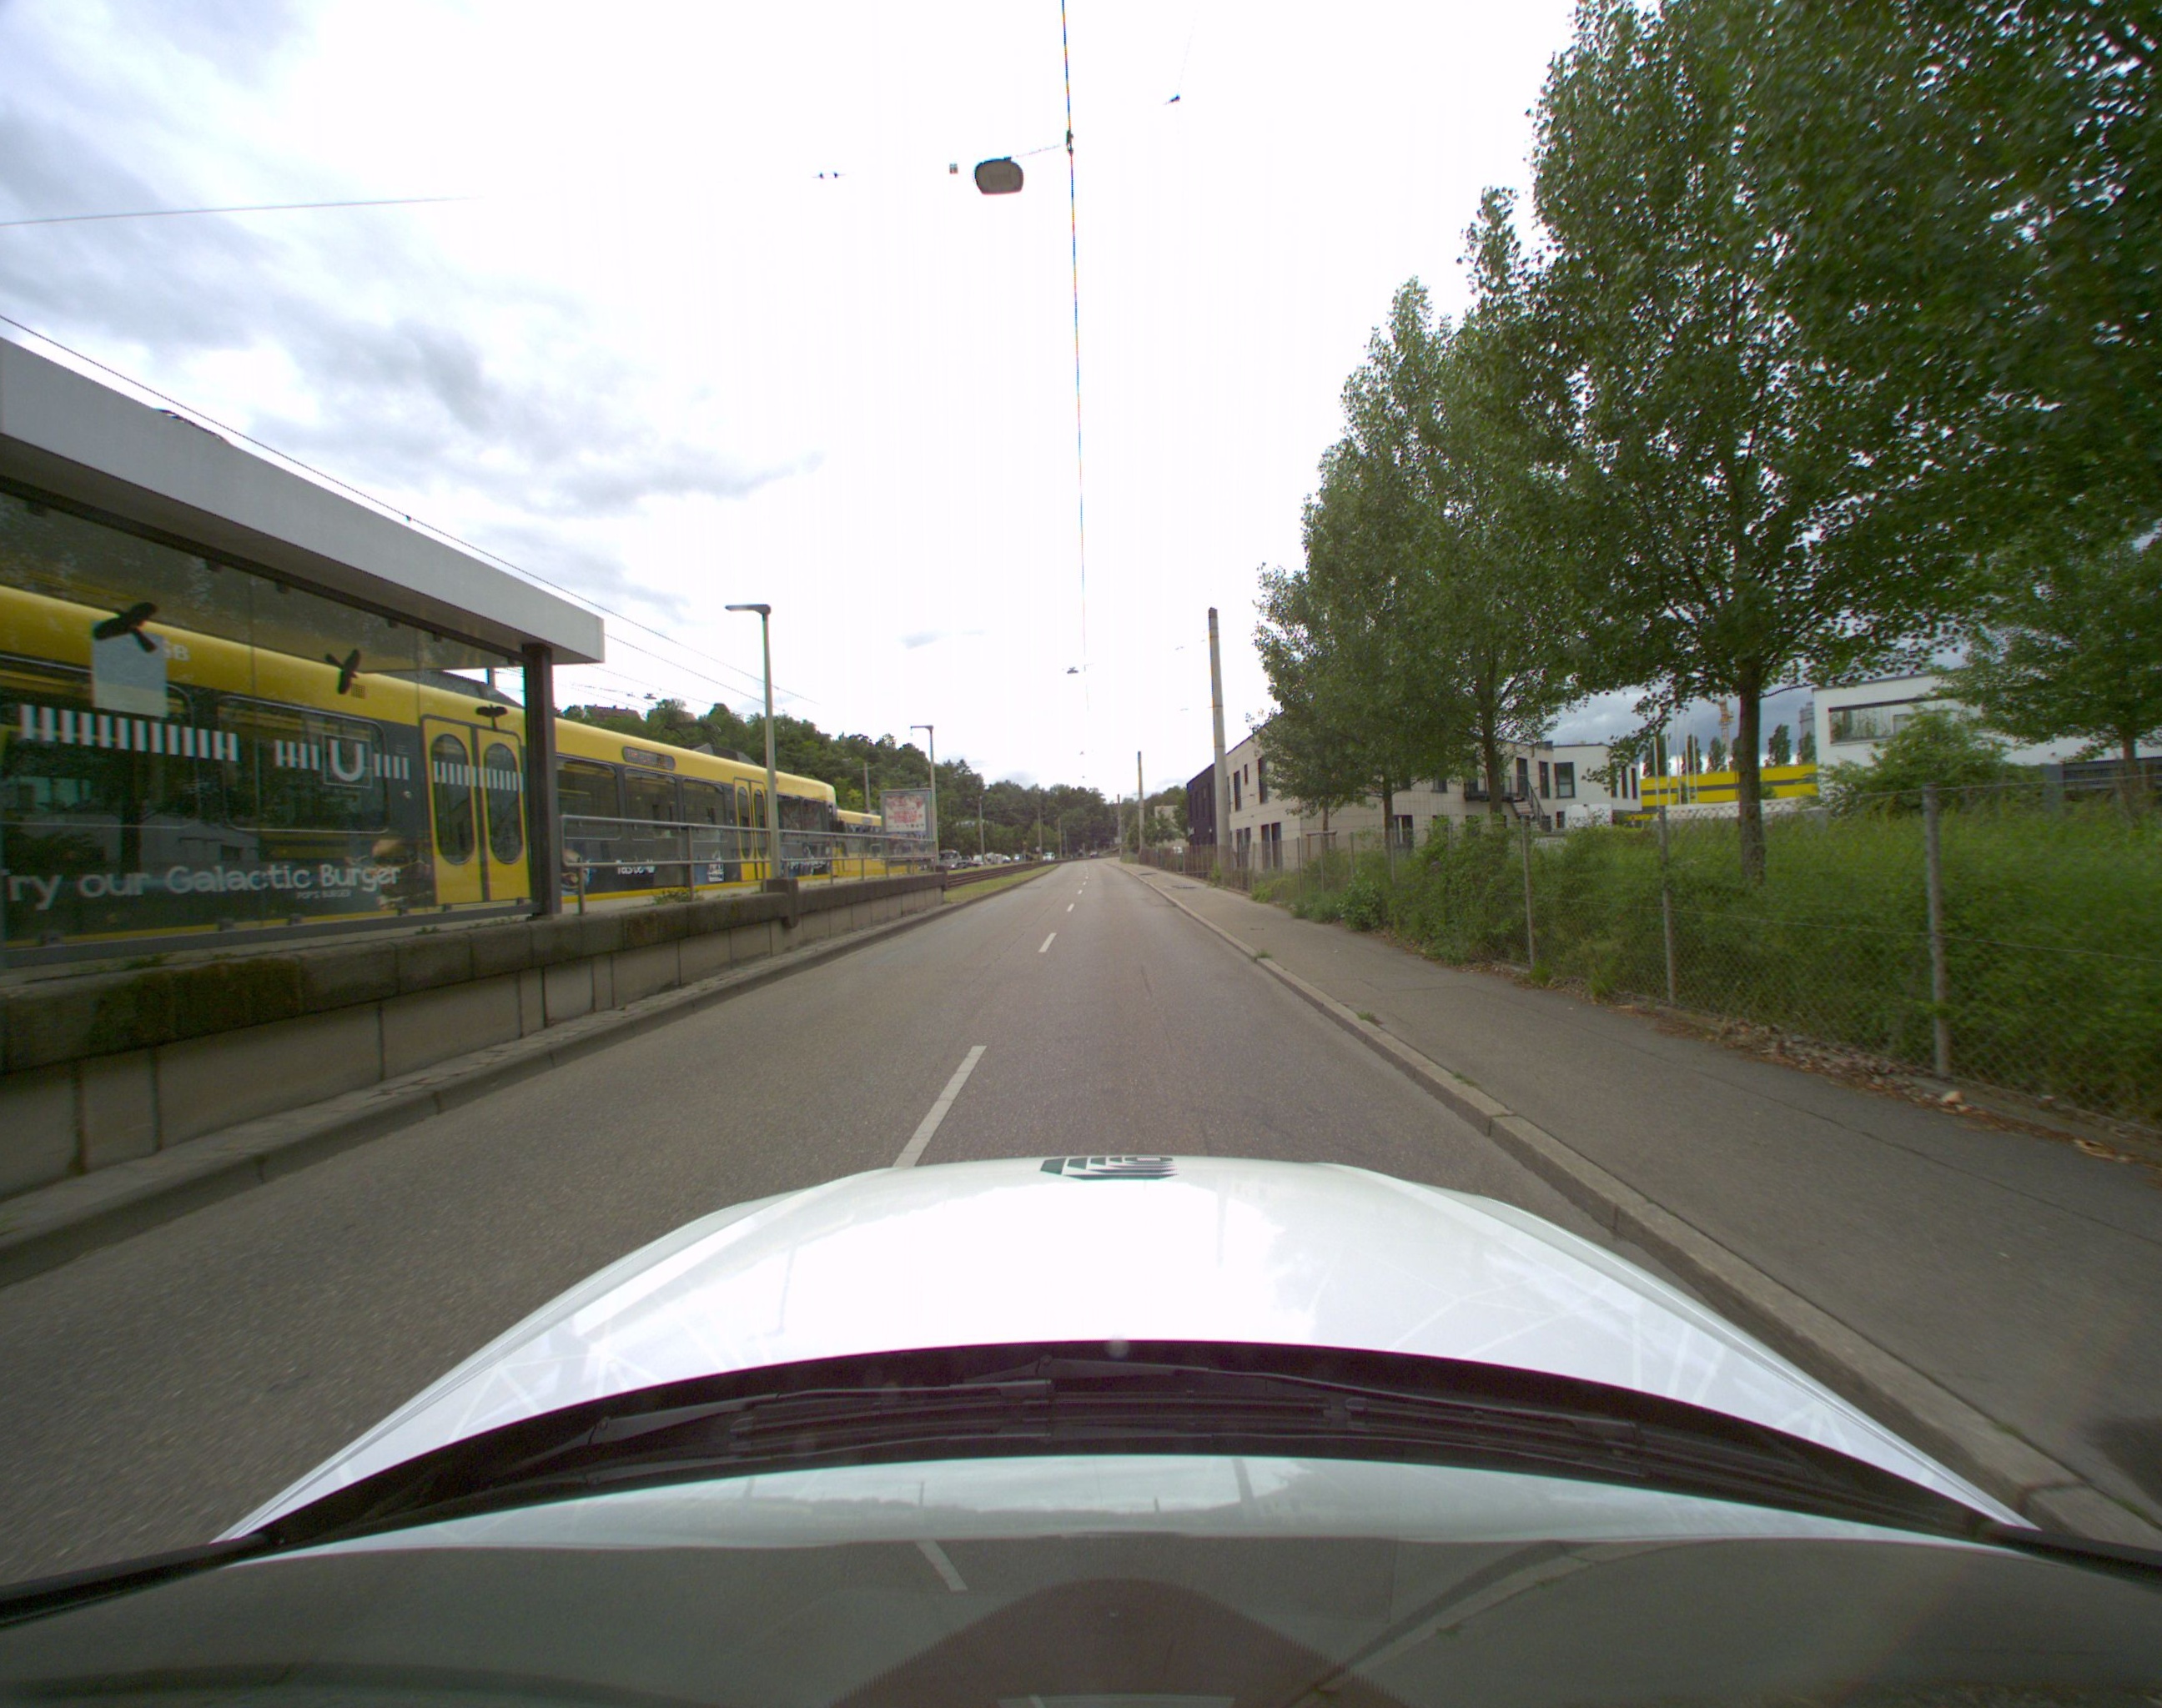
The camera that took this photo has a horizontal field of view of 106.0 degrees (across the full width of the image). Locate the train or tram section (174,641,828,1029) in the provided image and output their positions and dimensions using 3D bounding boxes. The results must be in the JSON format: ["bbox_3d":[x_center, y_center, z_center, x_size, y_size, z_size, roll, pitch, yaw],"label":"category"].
[{"bbox_3d":[-7.949,-0.313,14.529,2.731,3.966,11.916,-3,1,1],"label":"train or tram section"}]

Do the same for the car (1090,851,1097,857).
[{"bbox_3d":[3.626,-0.028,234.150,1.986,1.640,4.001,-2,0,1],"label":"car"}]

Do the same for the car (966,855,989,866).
[{"bbox_3d":[-19.885,1.257,156.242,3.966,1.706,1.837,-3,-3,7],"label":"car"}]

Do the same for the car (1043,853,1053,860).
[{"bbox_3d":[-7.702,0.618,191.308,1.986,1.640,4.001,-2,0,1],"label":"car"}]

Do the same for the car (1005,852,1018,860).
[{"bbox_3d":[-16.175,0.451,188.671,1.816,1.706,4.155,-3,-3,11],"label":"car"}]

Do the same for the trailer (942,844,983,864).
[{"bbox_3d":[-16.937,-0.084,117.222,2.875,2.583,10.019,-2,0,8],"label":"trailer"}]

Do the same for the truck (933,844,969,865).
[{"bbox_3d":[-17.765,0.021,111.565,2.867,2.589,6.928,-2,0,8],"label":"truck"}]

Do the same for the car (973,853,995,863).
[{"bbox_3d":[-19.475,0.849,163.812,3.966,1.706,1.837,-3,-3,7],"label":"car"}]

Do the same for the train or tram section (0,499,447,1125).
[{"bbox_3d":[-8.247,-0.175,2.584,2.731,3.966,11.916,-3,1,1],"label":"train or tram section"}]

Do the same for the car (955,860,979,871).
[{"bbox_3d":[-21.073,2.127,151.046,3.966,1.705,1.838,-3,1,7],"label":"car"}]

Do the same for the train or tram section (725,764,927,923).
[{"bbox_3d":[-7.656,-0.376,26.494,2.961,4.064,10.200,-3,1,1],"label":"train or tram section"}]

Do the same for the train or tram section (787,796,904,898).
[{"bbox_3d":[-9.907,-0.281,35.370,1.986,3.795,9.182,-3,0,2],"label":"train or tram section"}]
